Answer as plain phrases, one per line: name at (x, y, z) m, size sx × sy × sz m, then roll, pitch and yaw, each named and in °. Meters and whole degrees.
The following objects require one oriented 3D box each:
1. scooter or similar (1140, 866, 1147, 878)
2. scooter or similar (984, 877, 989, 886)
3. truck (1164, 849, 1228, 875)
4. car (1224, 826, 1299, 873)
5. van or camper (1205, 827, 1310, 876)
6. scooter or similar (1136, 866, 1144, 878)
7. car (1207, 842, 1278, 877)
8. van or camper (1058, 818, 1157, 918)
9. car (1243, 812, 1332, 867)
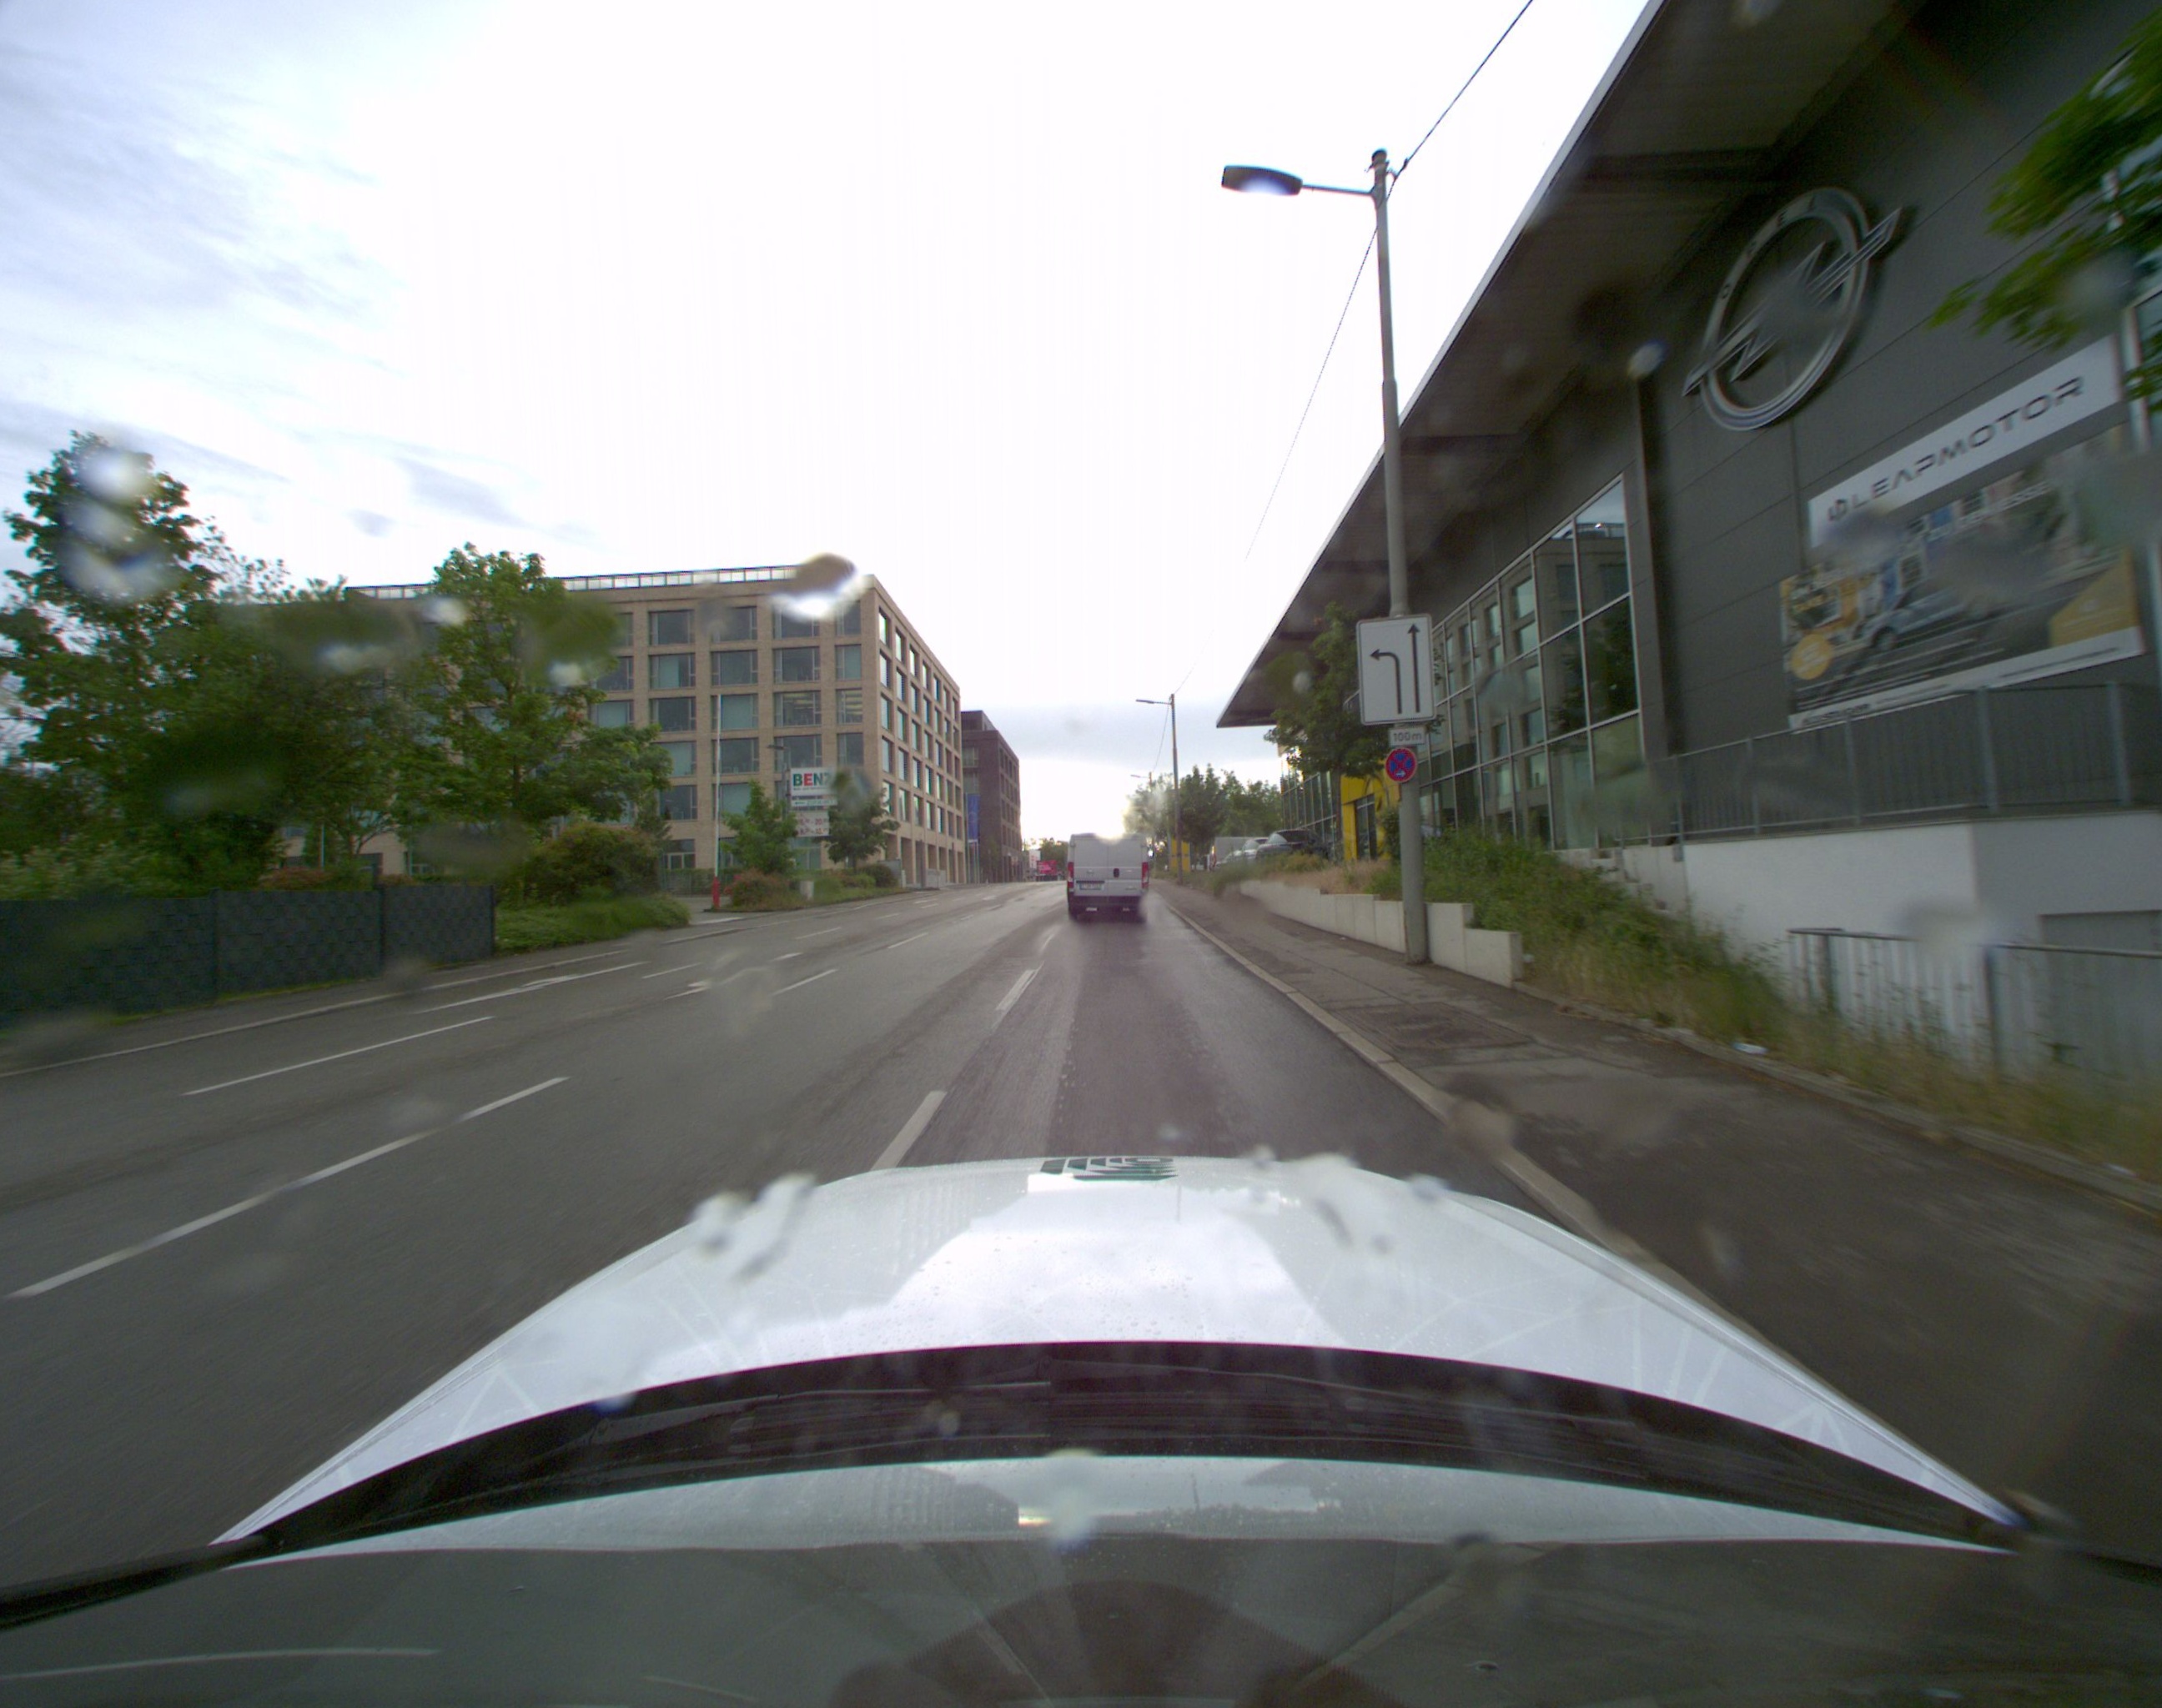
scooter or similar at (8.075, 2.375, 105.773) m, size 0.436 × 1.564 × 1.264 m, roll -1°, pitch -1°, yaw -20°
scooter or similar at (-11.390, 3.313, 98.290) m, size 0.349 × 1.072 × 1.429 m, roll -2°, pitch -3°, yaw 3°
truck at (9.717, 0.684, 69.209) m, size 5.131 × 2.014 × 2.345 m, roll -1°, pitch -1°, yaw 0°
car at (7.673, -0.164, 34.295) m, size 1.975 × 1.711 × 4.604 m, roll -5°, pitch -2°, yaw 25°
van or camper at (10.364, -0.131, 48.323) m, size 5.715 × 2.724 × 2.353 m, roll -1°, pitch -1°, yaw 1°
scooter or similar at (7.651, 2.370, 105.609) m, size 0.436 × 1.588 × 1.264 m, roll -1°, pitch -1°, yaw -20°
car at (7.938, 0.266, 39.684) m, size 1.891 × 1.455 × 4.600 m, roll -5°, pitch -3°, yaw 30°
van or camper at (0.778, 0.378, 22.252) m, size 2.330 × 2.357 × 5.203 m, roll -1°, pitch -1°, yaw 3°
car at (7.578, -0.468, 29.587) m, size 1.974 × 1.711 × 4.455 m, roll -5°, pitch -3°, yaw 28°
